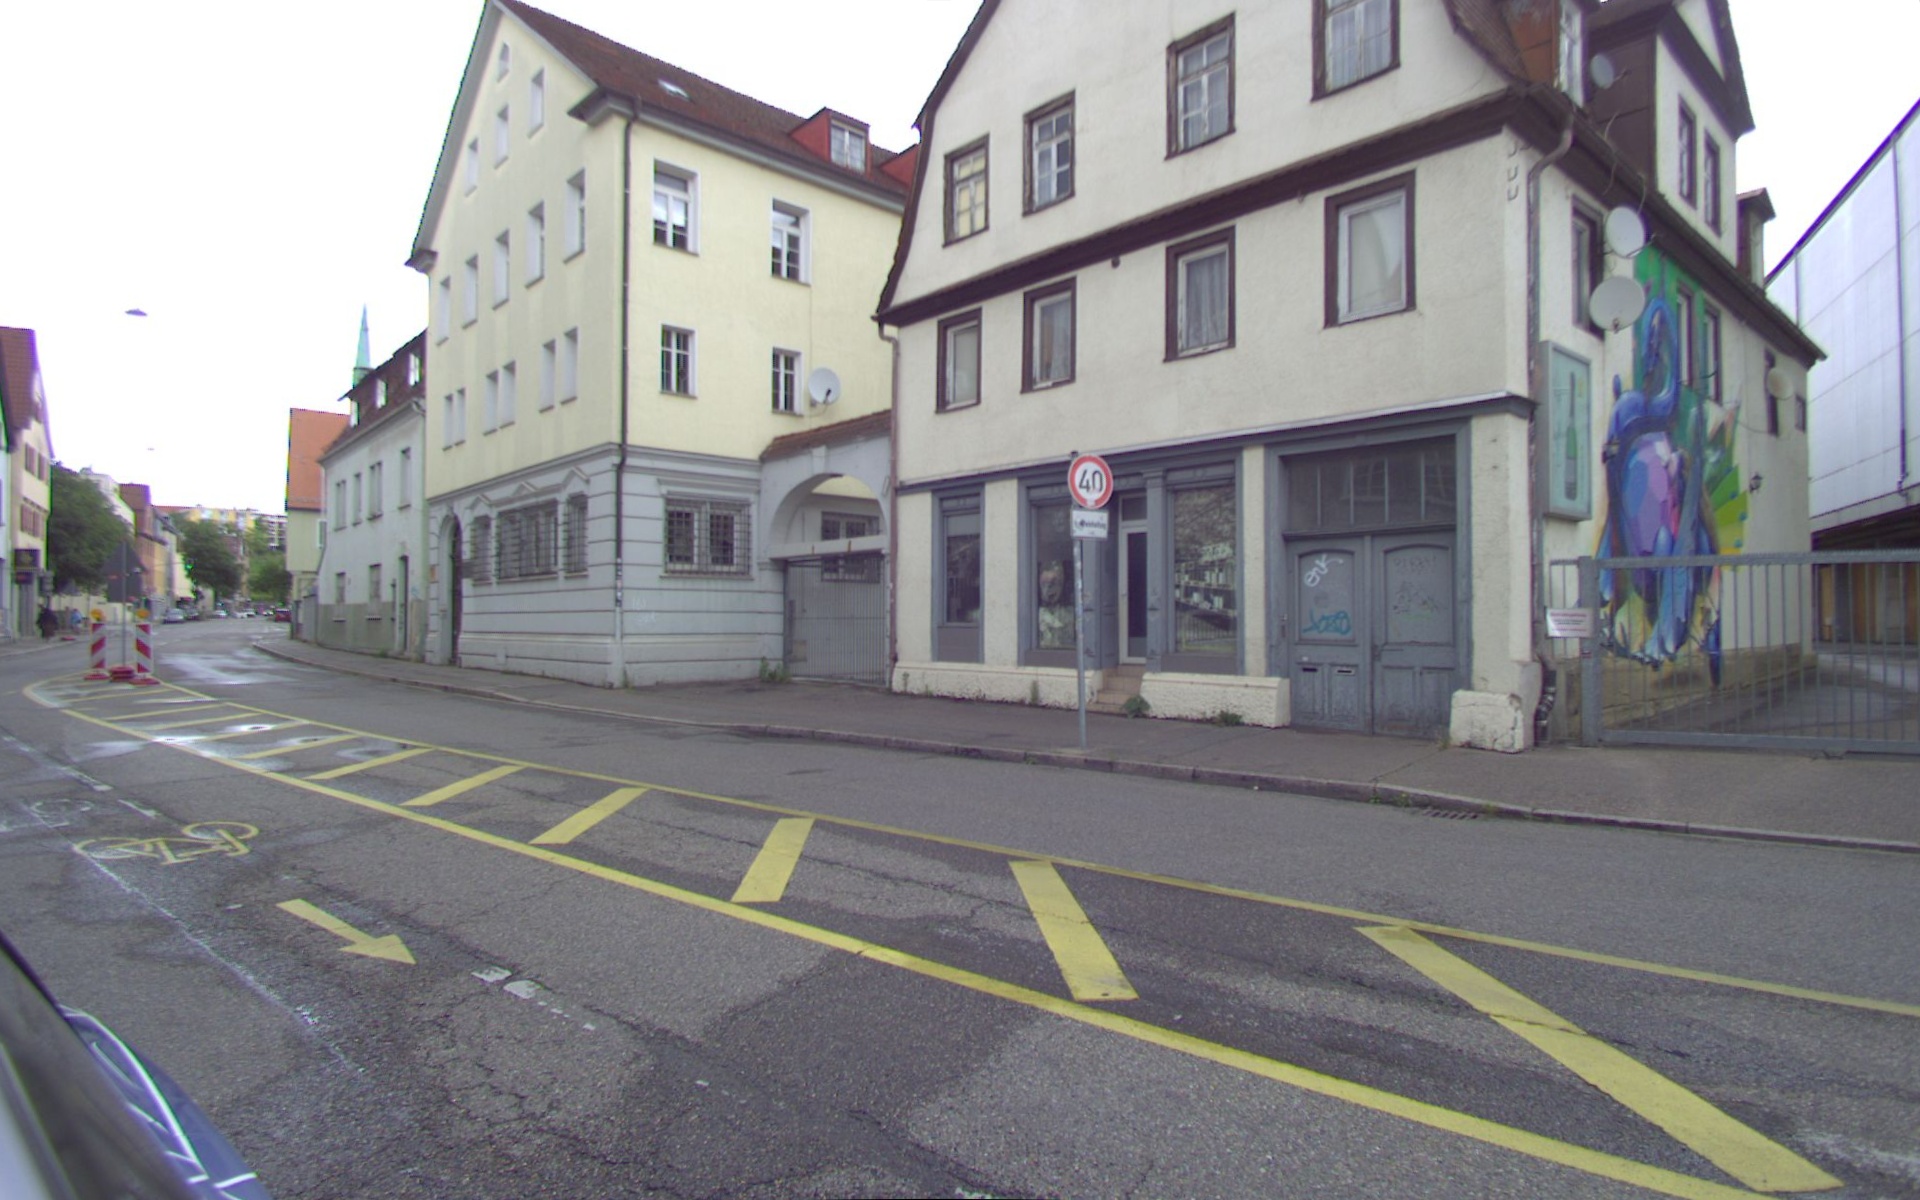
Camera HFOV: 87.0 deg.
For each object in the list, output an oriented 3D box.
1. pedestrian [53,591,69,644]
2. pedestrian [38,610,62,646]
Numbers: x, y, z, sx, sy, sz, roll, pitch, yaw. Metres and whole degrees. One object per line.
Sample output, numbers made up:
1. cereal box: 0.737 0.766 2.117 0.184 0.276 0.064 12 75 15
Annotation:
1. pedestrian: -43.828 0.848 49.353 0.487 2.547 0.747 1 -2 -38
2. pedestrian: -41.726 1.283 46.419 0.714 1.626 0.650 2 -3 -39
